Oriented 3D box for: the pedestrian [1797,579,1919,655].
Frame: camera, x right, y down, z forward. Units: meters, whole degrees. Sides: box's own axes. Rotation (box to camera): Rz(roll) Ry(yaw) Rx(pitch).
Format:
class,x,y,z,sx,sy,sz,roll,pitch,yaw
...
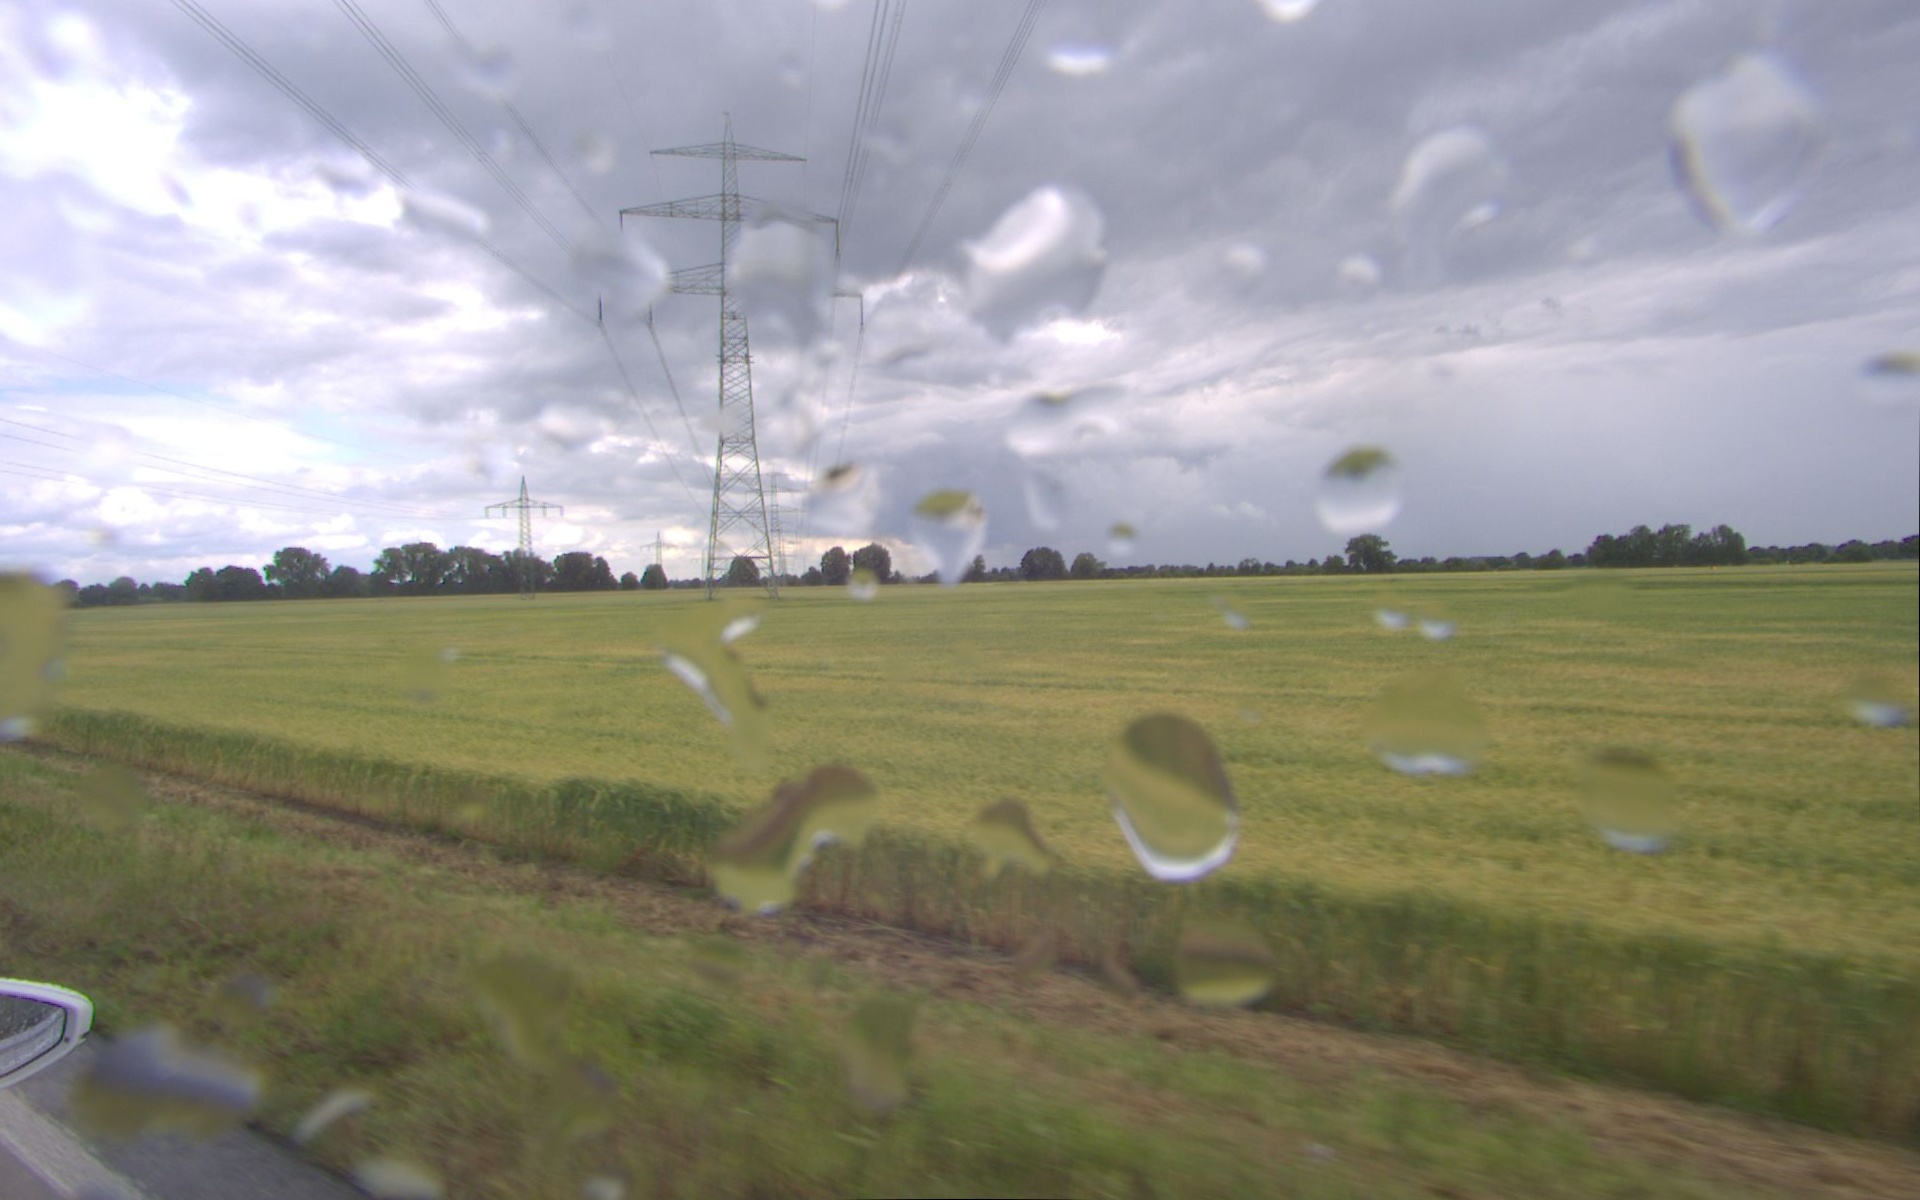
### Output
class,x,y,z,sx,sy,sz,roll,pitch,yaw
pedestrian,26.500,0.495,28.236,3.930,2.039,1.997,-2,-2,20
